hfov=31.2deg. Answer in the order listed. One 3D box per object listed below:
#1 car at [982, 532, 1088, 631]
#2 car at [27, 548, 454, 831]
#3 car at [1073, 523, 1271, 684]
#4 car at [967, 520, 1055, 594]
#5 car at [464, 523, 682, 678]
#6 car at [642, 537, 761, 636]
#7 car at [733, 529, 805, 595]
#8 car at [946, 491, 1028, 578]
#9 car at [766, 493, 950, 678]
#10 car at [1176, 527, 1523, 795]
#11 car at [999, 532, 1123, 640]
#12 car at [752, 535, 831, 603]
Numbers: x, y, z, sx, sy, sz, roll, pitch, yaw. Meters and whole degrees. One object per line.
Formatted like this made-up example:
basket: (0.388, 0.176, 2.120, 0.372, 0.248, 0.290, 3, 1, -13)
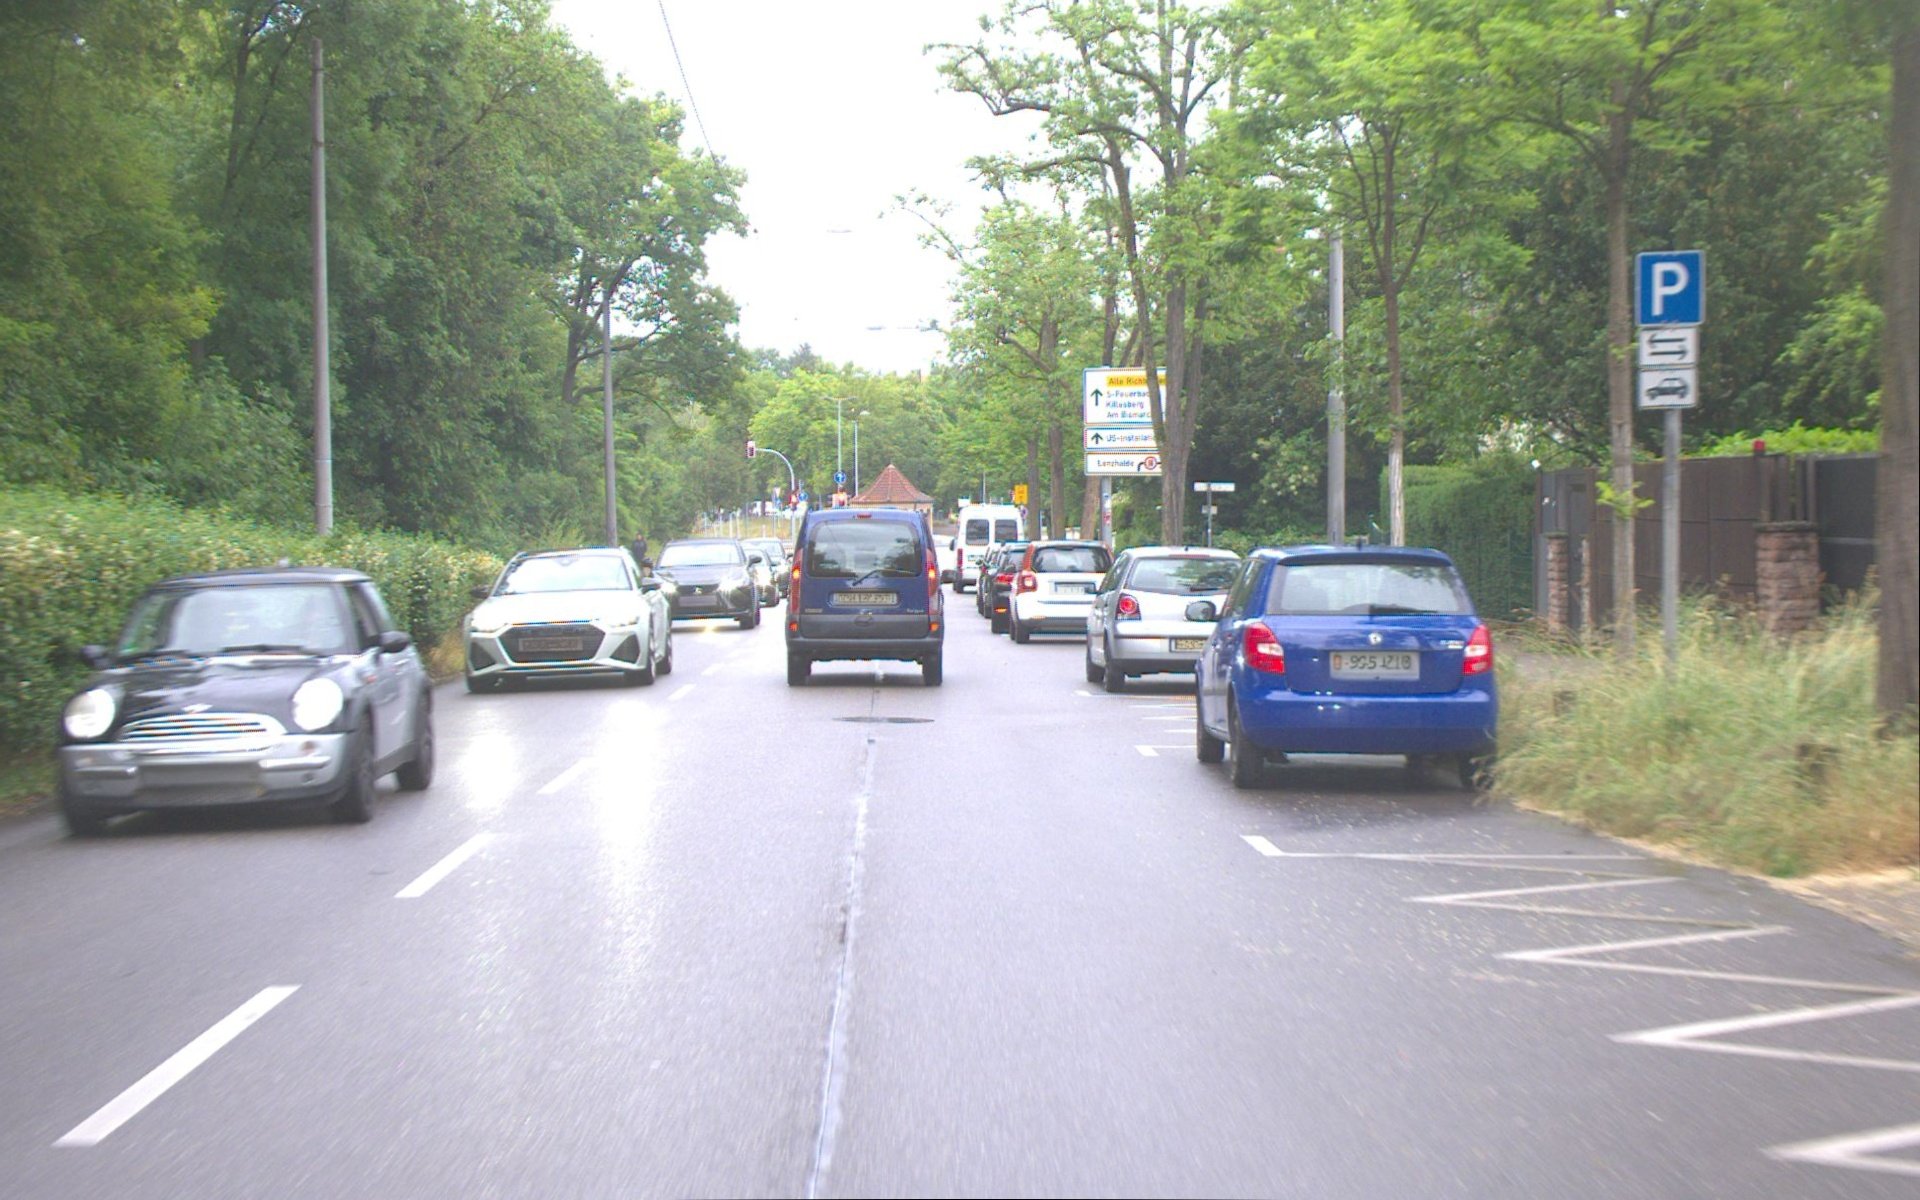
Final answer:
car: (1.259, -0.340, 57.786, 1.698, 1.519, 3.868, 1, 2, 1)
car: (-4.040, 0.440, 19.867, 1.686, 1.351, 3.724, -2, 2, -1)
car: (2.145, -0.009, 35.588, 1.618, 1.503, 3.835, 1, 2, -3)
car: (1.079, -0.956, 74.259, 1.698, 1.519, 3.868, 1, 1, -2)
car: (-4.161, -0.043, 37.627, 1.856, 1.463, 4.447, -3, 2, -1)
car: (-4.531, -0.271, 60.873, 1.804, 1.541, 4.432, -2, 2, -1)
car: (-5.086, -1.034, 92.078, 1.723, 1.610, 4.155, -2, 2, -1)
car: (0.751, -1.889, 99.277, 2.205, 2.441, 4.730, -1, 1, -1)
car: (-1.122, -0.198, 36.269, 1.766, 1.824, 3.543, 1, 2, -4)
car: (2.430, 0.319, 22.344, 1.721, 1.500, 4.051, 1, 2, -1)
car: (1.489, -0.233, 51.760, 1.632, 1.504, 2.958, 1, 2, -2)
car: (-4.039, -0.775, 83.209, 1.728, 1.437, 5.113, -2, 2, -1)
